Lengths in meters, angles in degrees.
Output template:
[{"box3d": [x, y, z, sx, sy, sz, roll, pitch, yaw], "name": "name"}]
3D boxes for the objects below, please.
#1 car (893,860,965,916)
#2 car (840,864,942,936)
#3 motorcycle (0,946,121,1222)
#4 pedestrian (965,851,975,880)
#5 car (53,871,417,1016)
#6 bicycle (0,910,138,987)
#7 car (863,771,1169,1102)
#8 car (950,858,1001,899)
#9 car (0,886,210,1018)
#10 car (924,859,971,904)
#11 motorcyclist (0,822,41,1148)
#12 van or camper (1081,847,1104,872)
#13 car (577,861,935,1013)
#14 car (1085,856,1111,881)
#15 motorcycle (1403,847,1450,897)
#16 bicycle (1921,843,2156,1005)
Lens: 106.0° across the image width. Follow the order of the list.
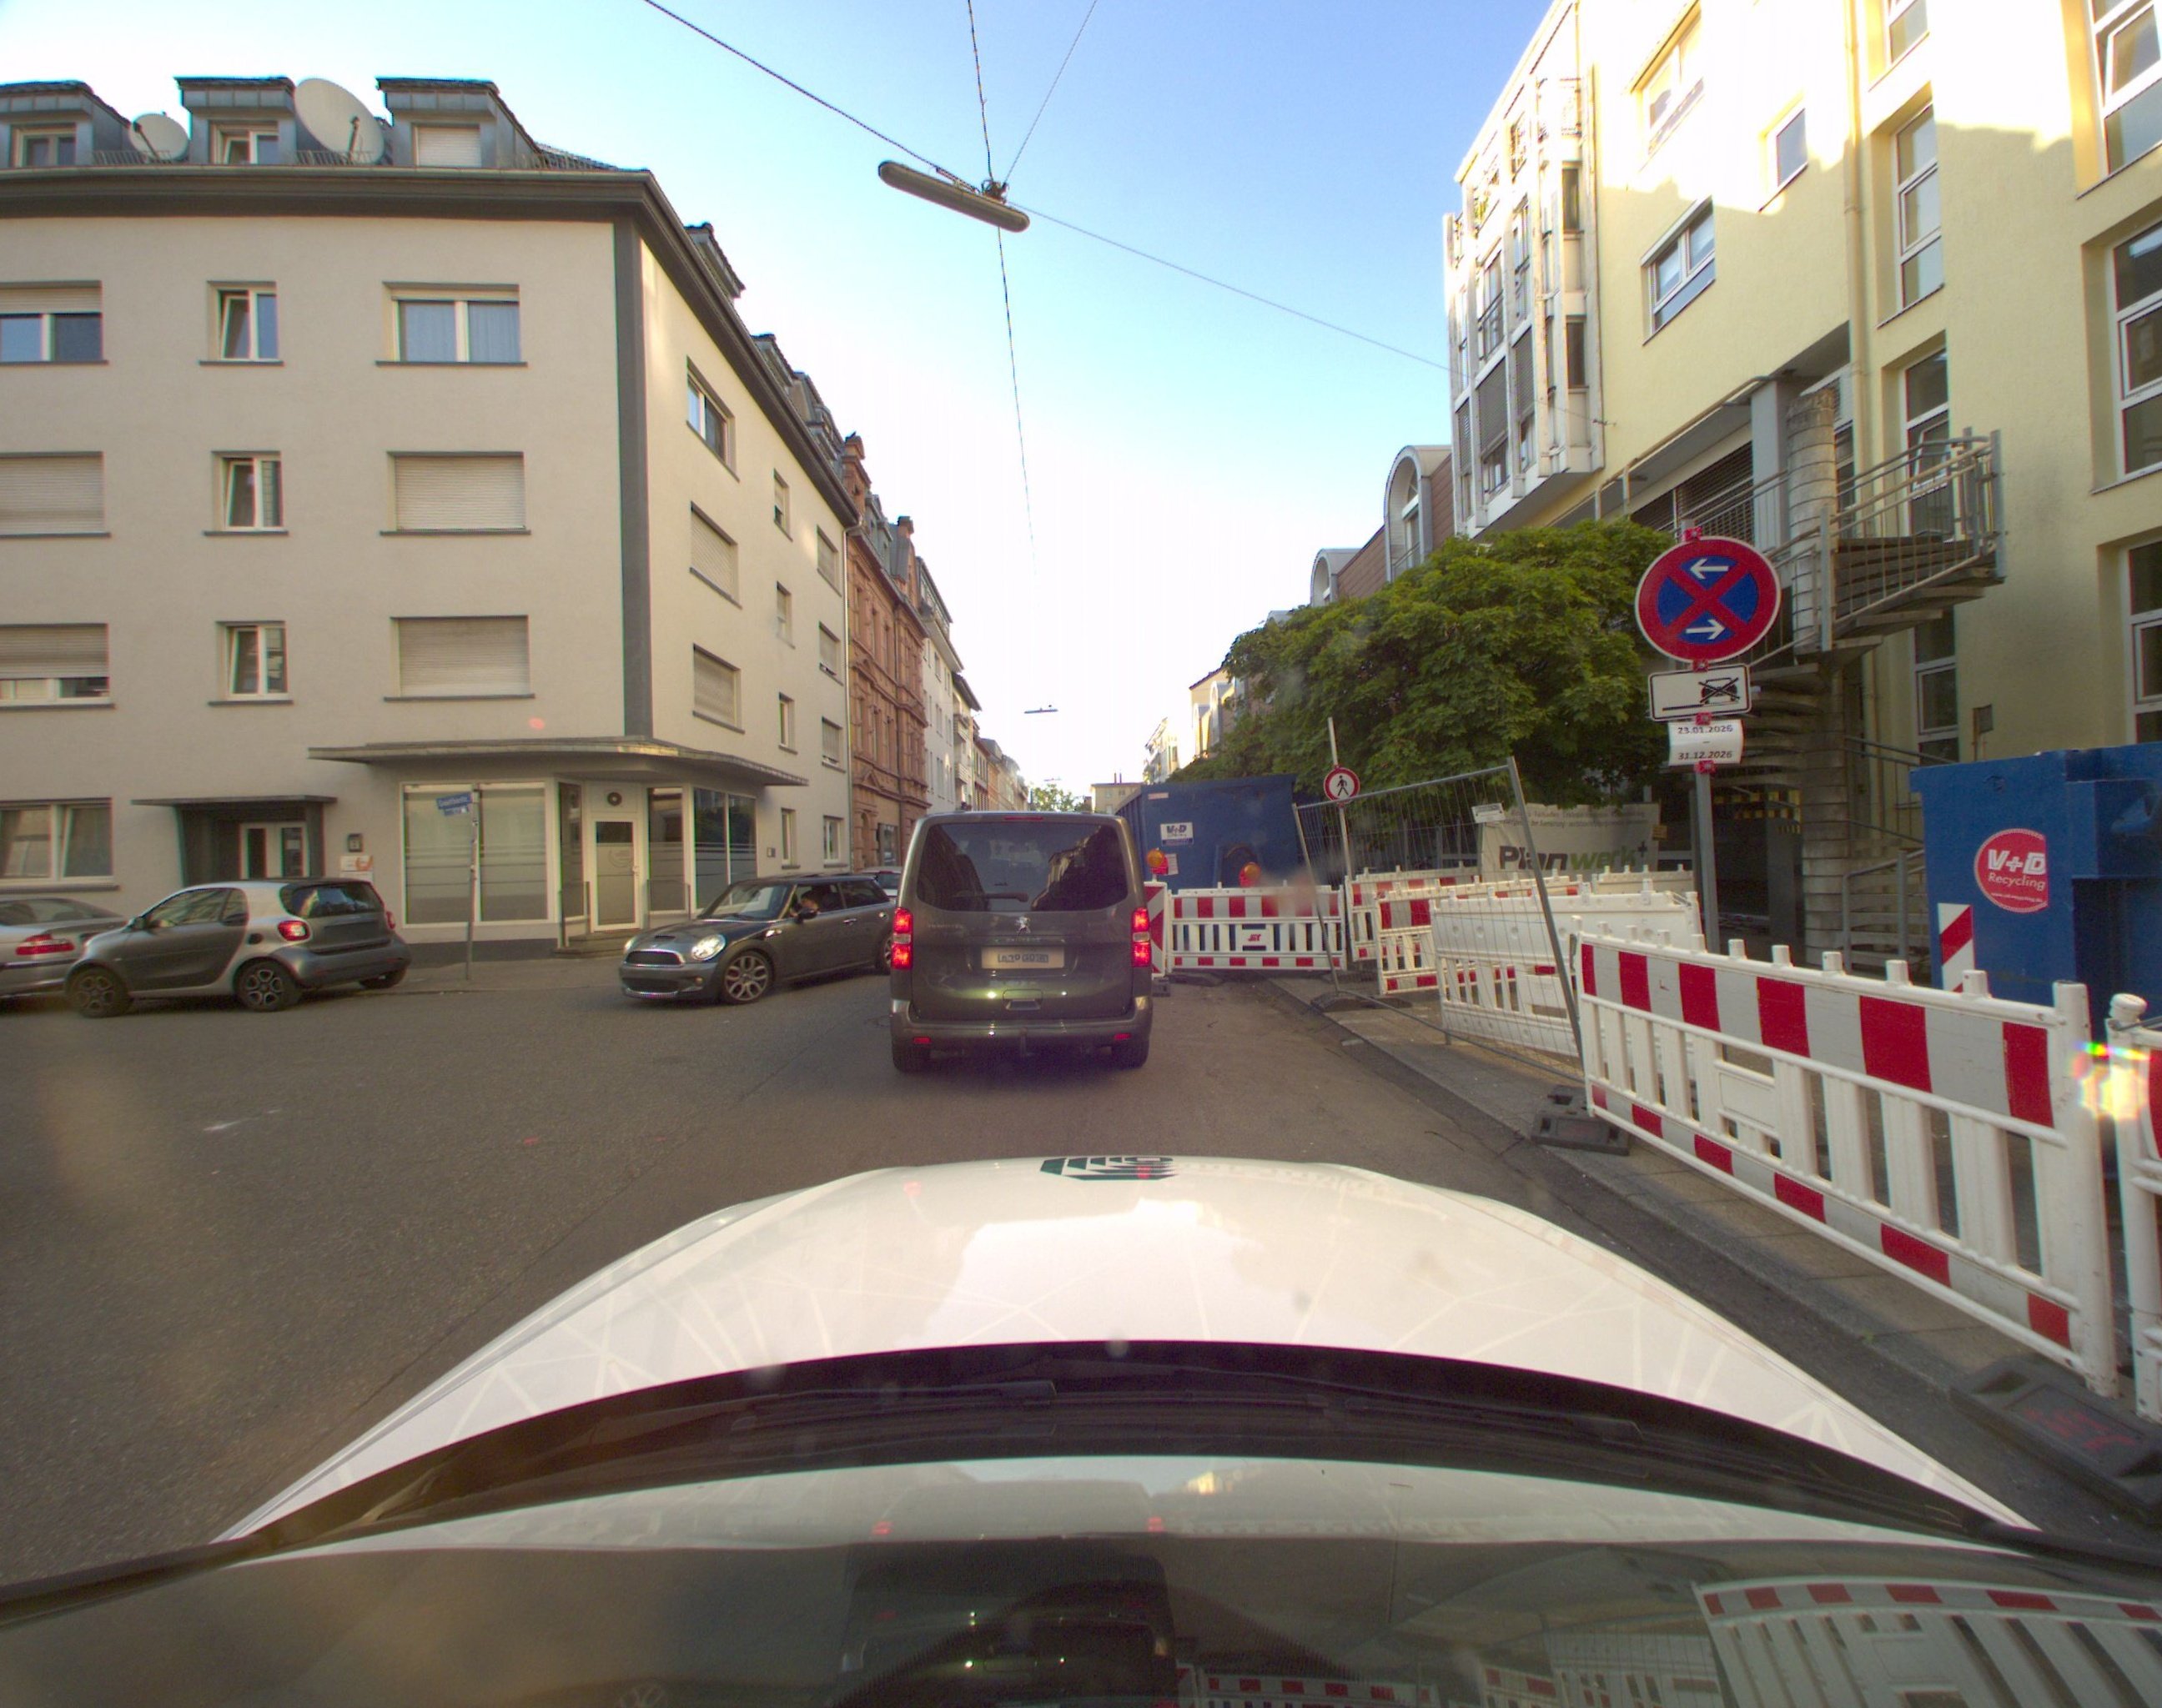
[{"box3d": [-4.454, 0.956, 24.271, 1.551, 1.508, 3.595, 1, 0, -2], "name": "car"}, {"box3d": [-4.281, 0.988, 18.840, 1.628, 1.430, 3.552, -1, 0, -2], "name": "car"}, {"box3d": [-5.993, 1.128, 4.009, 1.684, 1.249, 0.808, 0, 1, 6], "name": "motorcycle"}, {"box3d": [-6.357, 0.649, 46.728, 0.493, 1.638, 0.665, 0, -1, -1], "name": "pedestrian"}, {"box3d": [-10.343, 1.039, 10.142, 2.746, 1.566, 1.648, -1, 0, -1], "name": "car"}, {"box3d": [-16.039, 1.456, 12.663, 2.046, 1.137, 0.488, 0, -1, -4], "name": "bicycle"}, {"box3d": [-0.466, 0.526, 7.253, 1.853, 2.013, 3.997, -3, 0, -2], "name": "car"}, {"box3d": [-4.476, 0.993, 34.980, 1.735, 1.599, 4.012, -1, 0, -2], "name": "car"}, {"box3d": [-14.371, 1.220, 10.410, 4.238, 1.453, 1.967, -1, 0, -2], "name": "car"}, {"box3d": [-5.040, 1.007, 31.004, 1.392, 1.588, 2.792, -1, 0, -2], "name": "car"}, {"box3d": [-6.195, 0.702, 4.029, 0.991, 1.701, 0.876, -3, -1, 7], "name": "motorcyclist"}, {"box3d": [1.236, 0.591, 90.703, 2.094, 2.602, 7.505, -3, 0, -2], "name": "van or camper"}, {"box3d": [-3.877, 0.878, 10.499, 1.976, 1.486, 4.022, -1, 0, 24], "name": "car"}, {"box3d": [1.223, 0.985, 57.503, 1.742, 1.683, 4.526, -1, 0, 1], "name": "car"}, {"box3d": [9.194, 0.468, 21.751, 0.863, 1.222, 2.468, -2, -1, 17], "name": "motorcycle"}, {"box3d": [7.987, 0.548, 6.806, 1.646, 1.268, 0.547, 0, -1, -12], "name": "bicycle"}]
